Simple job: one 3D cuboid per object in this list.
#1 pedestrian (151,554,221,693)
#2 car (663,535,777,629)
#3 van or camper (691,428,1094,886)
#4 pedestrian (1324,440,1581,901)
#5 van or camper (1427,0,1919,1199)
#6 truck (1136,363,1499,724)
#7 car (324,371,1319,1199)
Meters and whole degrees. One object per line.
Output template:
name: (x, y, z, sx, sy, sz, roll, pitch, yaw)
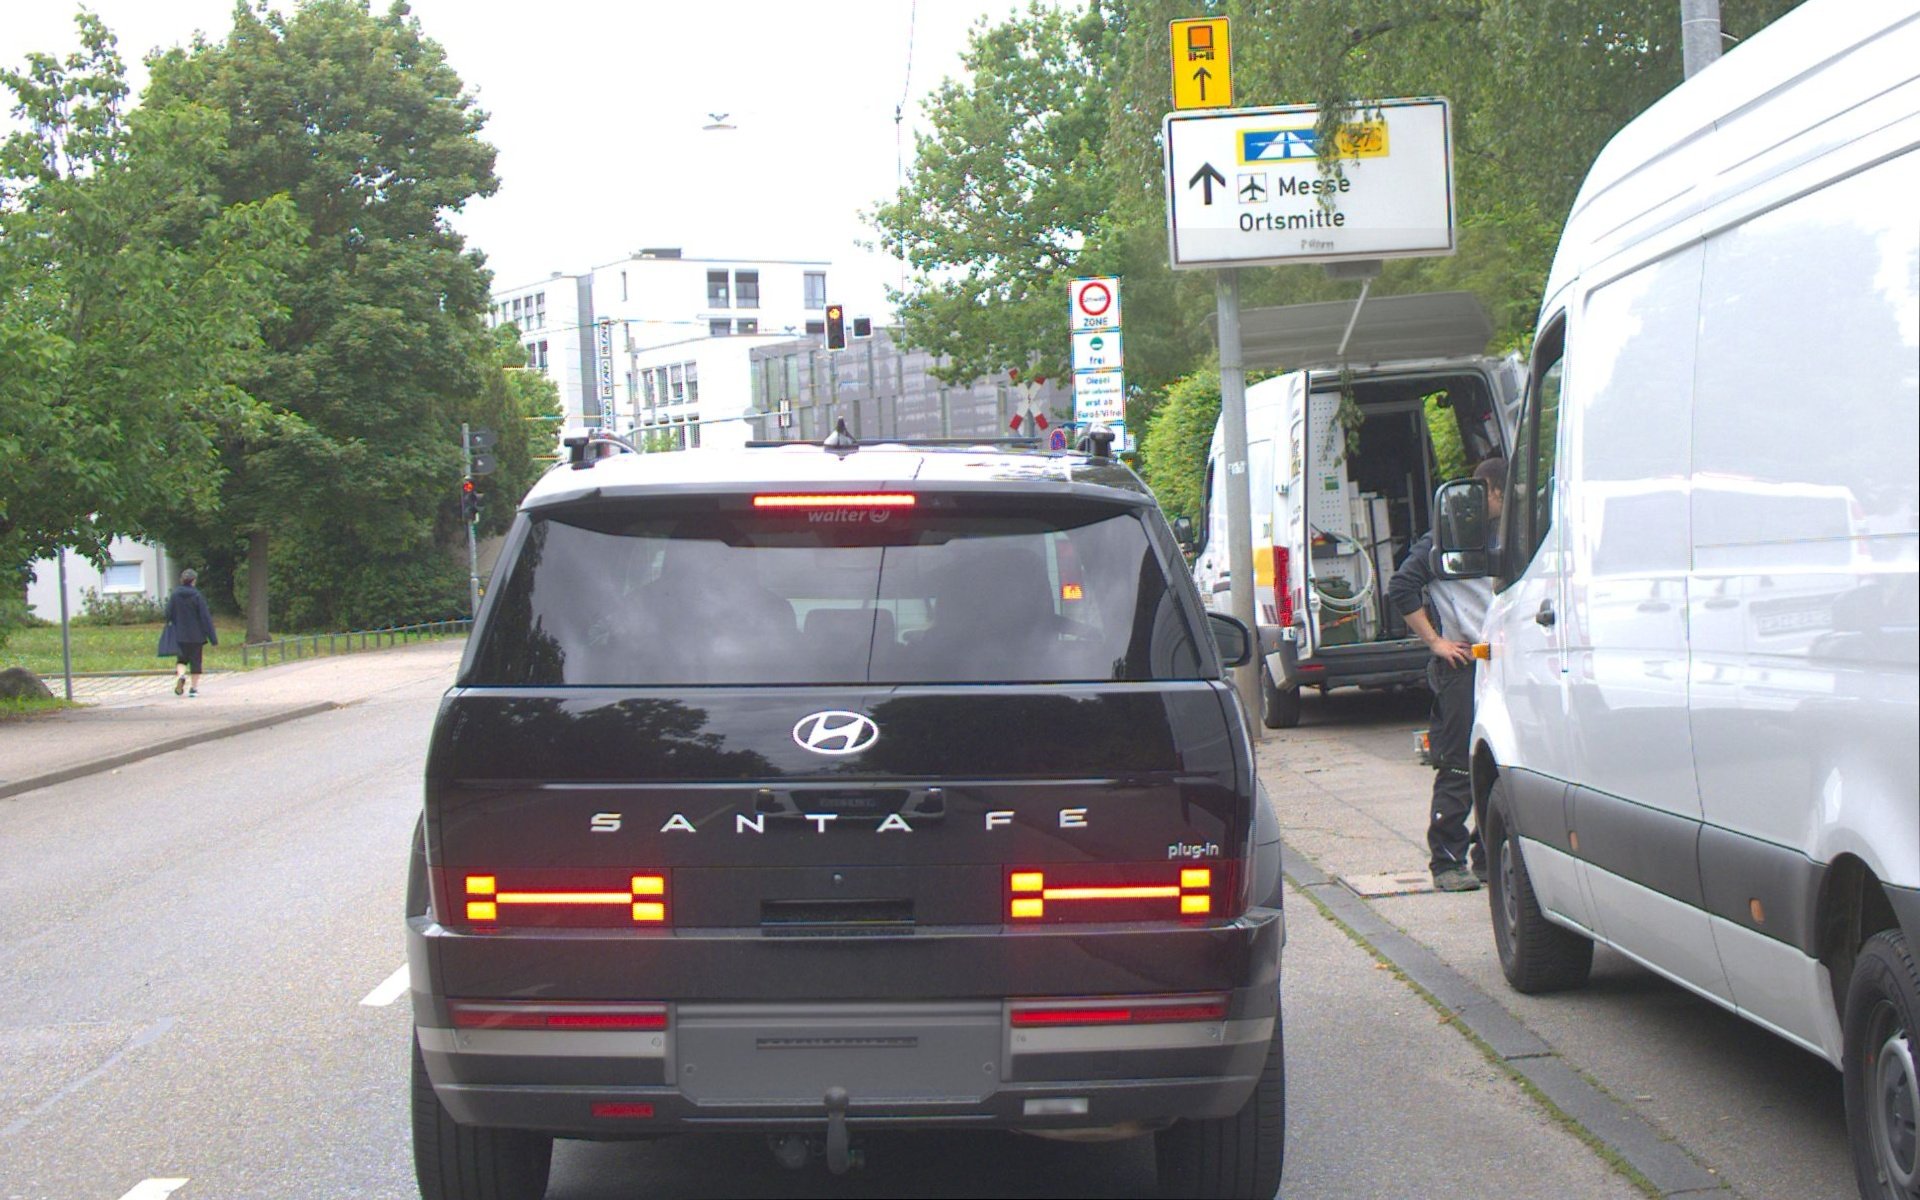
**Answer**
pedestrian: (-9.804, 0.289, 43.558, 0.738, 1.709, 0.793, -2, 1, -7)
car: (-4.661, -0.376, 67.310, 1.859, 1.651, 4.306, -4, 1, -1)
van or camper: (-0.326, 0.223, 17.506, 1.754, 2.007, 4.000, -2, 1, -1)
pedestrian: (1.986, 0.273, 13.955, 0.870, 1.791, 0.760, -2, 1, -1)
van or camper: (2.624, -0.084, 8.151, 1.993, 2.611, 6.541, -2, 1, -1)
truck: (2.781, -0.441, 28.004, 1.942, 2.553, 5.217, -4, 1, -4)
car: (-0.284, 0.440, 8.563, 1.889, 1.813, 4.000, 0, 1, -1)
